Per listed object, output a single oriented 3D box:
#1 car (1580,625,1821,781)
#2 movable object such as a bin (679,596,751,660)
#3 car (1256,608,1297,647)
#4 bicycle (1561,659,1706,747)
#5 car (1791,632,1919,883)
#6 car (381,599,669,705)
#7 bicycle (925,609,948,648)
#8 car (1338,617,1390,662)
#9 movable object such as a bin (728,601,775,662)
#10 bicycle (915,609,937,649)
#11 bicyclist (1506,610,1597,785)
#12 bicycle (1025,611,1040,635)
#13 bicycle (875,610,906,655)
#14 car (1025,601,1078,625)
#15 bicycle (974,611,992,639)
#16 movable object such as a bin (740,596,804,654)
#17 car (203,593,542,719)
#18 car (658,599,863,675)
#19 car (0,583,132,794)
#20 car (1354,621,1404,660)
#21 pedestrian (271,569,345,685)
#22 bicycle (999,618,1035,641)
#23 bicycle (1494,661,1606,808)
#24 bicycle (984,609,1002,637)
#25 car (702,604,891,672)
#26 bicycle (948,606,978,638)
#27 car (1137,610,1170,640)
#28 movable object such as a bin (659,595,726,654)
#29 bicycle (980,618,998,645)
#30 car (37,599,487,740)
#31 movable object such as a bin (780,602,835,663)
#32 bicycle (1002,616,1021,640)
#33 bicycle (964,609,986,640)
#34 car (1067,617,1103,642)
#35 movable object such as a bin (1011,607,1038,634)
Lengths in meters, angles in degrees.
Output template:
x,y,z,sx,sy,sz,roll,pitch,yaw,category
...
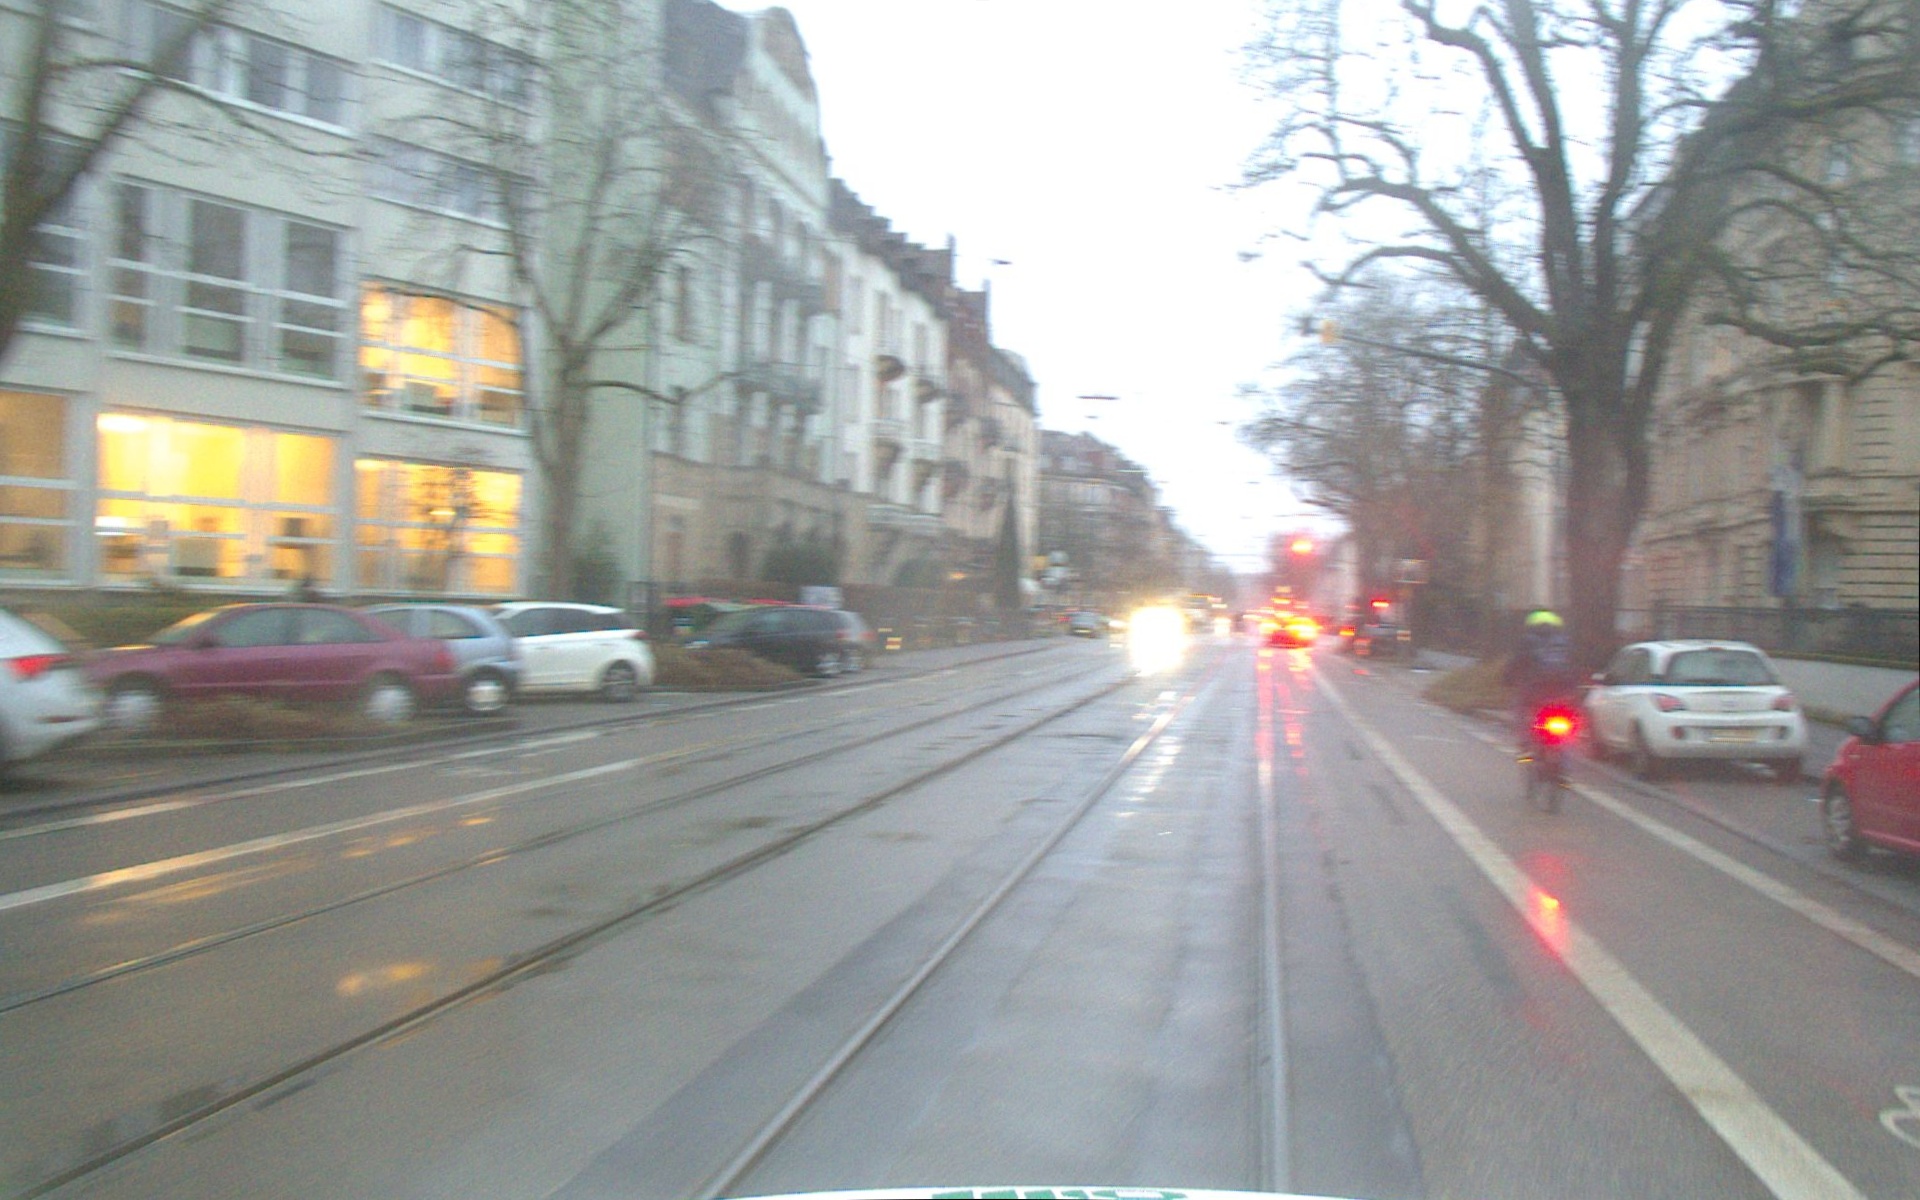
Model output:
x,y,z,sx,sy,sz,roll,pitch,yaw,category
8.502,1.115,19.307,1.655,1.546,3.640,1,0,9,car
-5.891,0.666,39.804,1.236,1.476,1.326,1,0,17,movable object such as a bin
16.617,1.467,87.006,1.951,1.930,4.762,3,-1,9,car
8.959,1.361,22.064,1.676,1.089,0.664,1,0,10,bicycle
7.014,1.057,10.926,1.608,1.550,3.575,2,0,8,car
-6.456,0.738,24.693,3.809,1.448,1.715,1,0,-36,car
-0.768,0.934,54.702,0.678,1.233,1.597,1,0,1,bicycle
19.149,1.840,78.548,1.951,1.933,5.031,1,0,9,car
-5.178,0.777,41.057,1.069,1.476,1.109,1,0,-11,movable object such as a bin
-1.069,0.909,52.192,0.616,1.233,1.597,1,0,1,bicycle
5.200,0.831,14.570,0.642,1.471,0.850,1,0,13,bicyclist
3.433,1.084,77.883,0.601,1.099,1.812,1,0,6,bicycle
-1.998,0.922,47.807,0.677,1.233,1.597,1,0,5,bicycle
7.146,1.011,129.095,3.902,1.758,1.741,1,0,12,car
0.884,0.958,63.446,0.678,1.049,1.596,1,-2,1,bicycle
-4.982,0.655,43.945,1.236,1.476,1.326,1,0,17,movable object such as a bin
-7.506,0.701,21.196,3.936,1.489,1.723,1,-1,-25,car
-4.209,0.779,35.103,3.953,1.496,1.809,2,0,-35,car
-8.193,0.605,11.805,3.933,1.469,1.724,1,-1,-23,car
17.021,1.614,67.322,1.641,1.485,4.046,1,0,9,car
-9.846,0.404,25.007,0.584,1.706,0.974,1,0,10,pedestrian
2.887,1.475,83.412,1.767,1.099,0.616,1,0,4,bicycle
5.217,1.152,14.718,0.692,1.116,2.031,1,0,13,bicycle
1.364,0.944,67.353,0.476,1.119,1.932,0,0,9,bicycle
-3.735,0.862,37.961,3.949,1.453,1.828,1,0,-33,car
0.119,0.798,59.391,0.677,1.049,1.595,0,-4,15,bicycle
13.392,1.708,114.292,2.002,1.956,5.104,1,0,9,car
-6.958,0.624,43.006,1.236,1.476,1.326,1,0,17,movable object such as a bin
1.144,1.235,65.489,0.678,1.049,1.596,1,-1,1,bicycle
-7.612,0.709,18.254,4.303,1.376,1.726,1,-1,-38,car
-3.812,0.811,41.276,1.241,1.476,1.108,1,0,-12,movable object such as a bin
2.255,1.225,72.328,0.612,1.035,1.807,0,0,9,bicycle
0.562,0.925,61.309,0.677,1.049,1.597,1,-4,5,bicycle
7.898,1.842,104.247,1.794,1.472,4.003,1,0,10,car
3.883,1.206,99.264,1.379,1.557,1.366,1,0,10,movable object such as a bin
